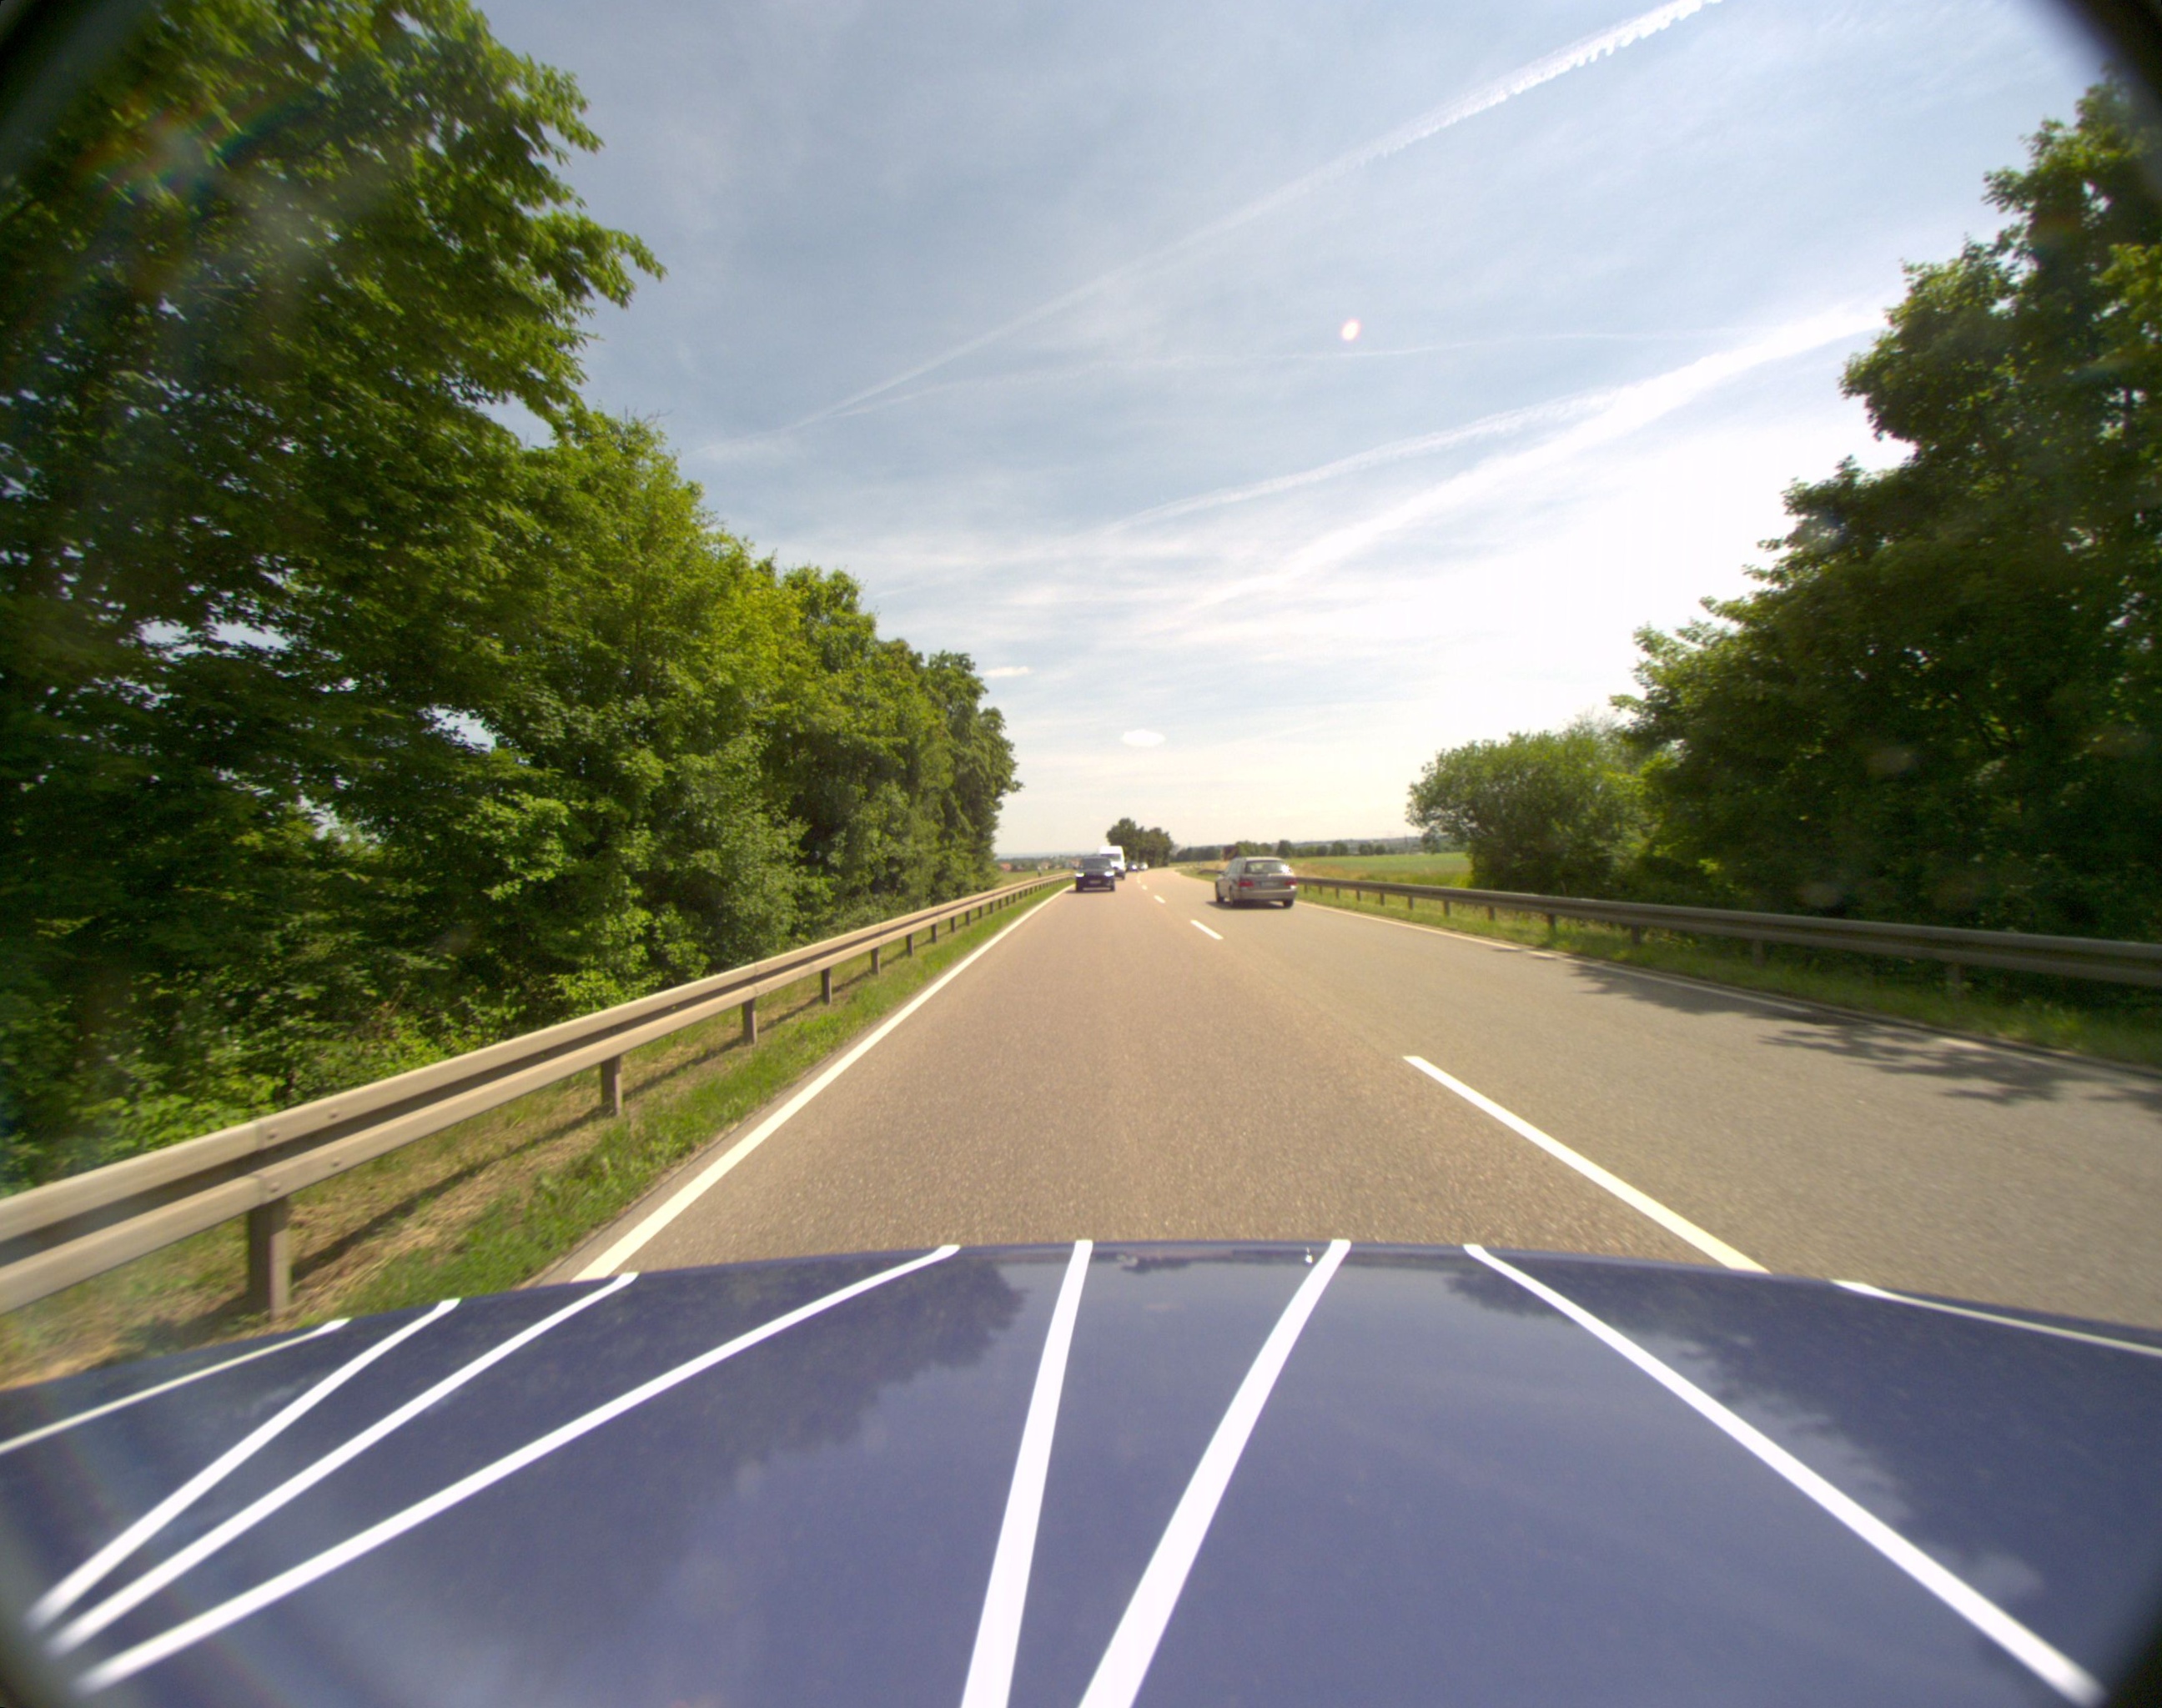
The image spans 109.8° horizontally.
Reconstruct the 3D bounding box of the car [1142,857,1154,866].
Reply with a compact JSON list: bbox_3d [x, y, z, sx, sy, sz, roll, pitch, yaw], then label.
[{"bbox_3d":[13.008,1.363,147.331,2.037,1.641,4.748,-1,0,10],"label":"car"}]

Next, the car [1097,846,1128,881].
[{"bbox_3d":[2.453,0.710,59.345,2.225,2.617,5.753,-1,0,2],"label":"car"}]

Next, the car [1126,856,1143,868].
[{"bbox_3d":[7.837,1.205,111.090,2.038,1.641,4.747,-1,0,8],"label":"car"}]

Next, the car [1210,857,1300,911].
[{"bbox_3d":[5.273,0.843,23.692,1.748,1.458,5.128,-1,0,2],"label":"car"}]

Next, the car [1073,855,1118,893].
[{"bbox_3d":[0.764,0.913,37.442,2.039,1.691,5.513,-1,0,2],"label":"car"}]

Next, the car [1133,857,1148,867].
[{"bbox_3d":[10.077,1.316,128.482,2.037,1.641,4.747,-1,0,9],"label":"car"}]
